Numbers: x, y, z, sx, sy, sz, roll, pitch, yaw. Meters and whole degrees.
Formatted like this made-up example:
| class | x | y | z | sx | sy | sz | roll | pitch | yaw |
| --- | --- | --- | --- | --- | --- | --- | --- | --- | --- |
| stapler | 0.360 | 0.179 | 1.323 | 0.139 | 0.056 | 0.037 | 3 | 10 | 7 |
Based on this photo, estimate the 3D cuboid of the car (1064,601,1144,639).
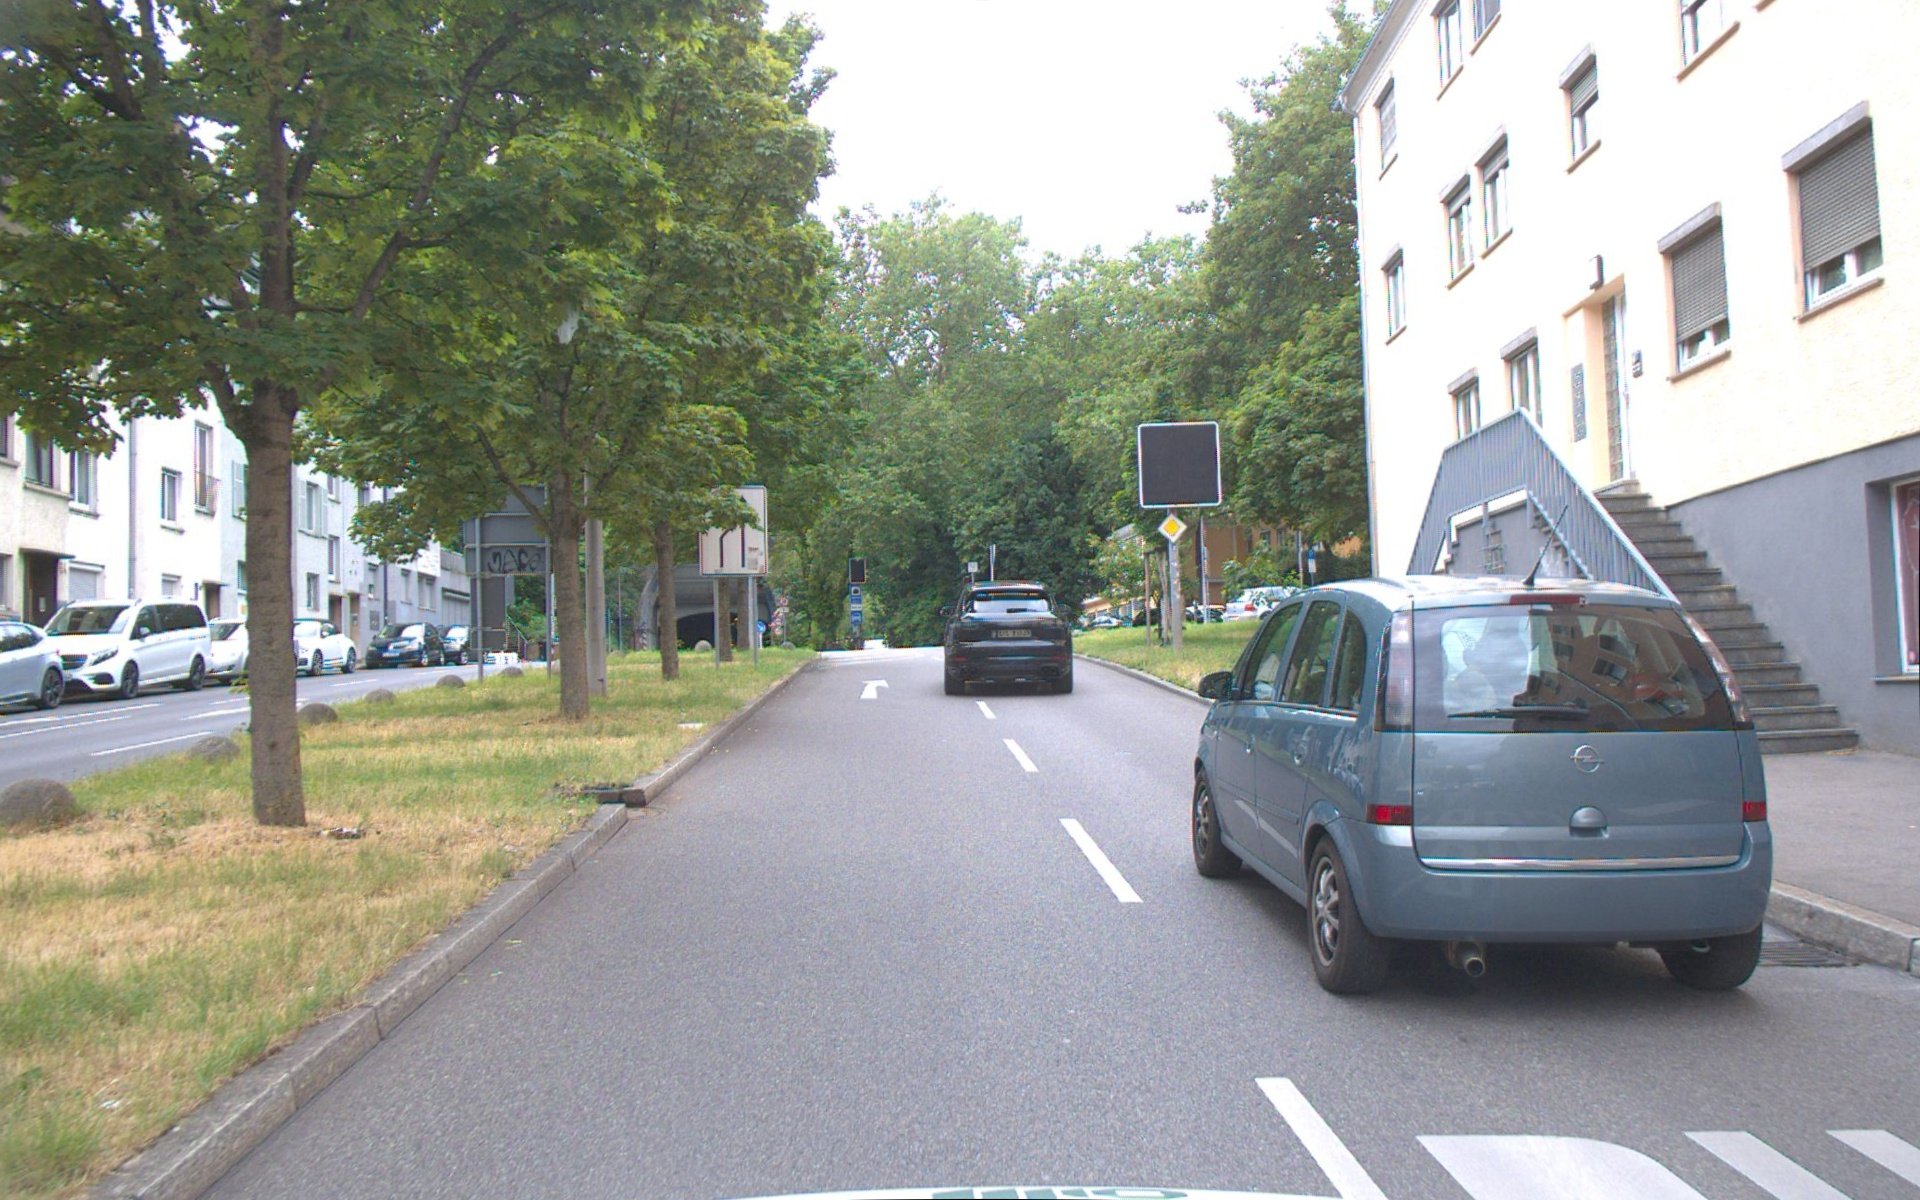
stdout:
| class | x | y | z | sx | sy | sz | roll | pitch | yaw |
| --- | --- | --- | --- | --- | --- | --- | --- | --- | --- |
| car | 7.202 | 1.035 | 83.256 | 1.966 | 1.606 | 4.871 | -2 | -3 | -22 |

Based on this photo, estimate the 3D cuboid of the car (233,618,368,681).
| class | x | y | z | sx | sy | sz | roll | pitch | yaw |
| --- | --- | --- | --- | --- | --- | --- | --- | --- | --- |
| car | -17.252 | 1.255 | 43.460 | 1.953 | 1.500 | 4.156 | -2 | 0 | -2 |

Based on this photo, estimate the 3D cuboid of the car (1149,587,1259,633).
| class | x | y | z | sx | sy | sz | roll | pitch | yaw |
| --- | --- | --- | --- | --- | --- | --- | --- | --- | --- |
| car | 8.701 | 0.336 | 58.826 | 1.964 | 1.442 | 3.976 | -3 | 0 | 42 |

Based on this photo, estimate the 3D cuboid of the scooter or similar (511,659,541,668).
| class | x | y | z | sx | sy | sz | roll | pitch | yaw |
| --- | --- | --- | --- | --- | --- | --- | --- | --- | --- |
| scooter or similar | -17.311 | 2.546 | 66.020 | 1.106 | 0.293 | 1.093 | -2 | -3 | -18 |

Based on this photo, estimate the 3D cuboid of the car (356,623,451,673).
| class | x | y | z | sx | sy | sz | roll | pitch | yaw |
| --- | --- | --- | --- | --- | --- | --- | --- | --- | --- |
| car | -17.756 | 1.498 | 52.943 | 1.955 | 1.448 | 4.206 | -2 | 0 | -6 |

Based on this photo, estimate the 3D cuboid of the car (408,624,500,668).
| class | x | y | z | sx | sy | sz | roll | pitch | yaw |
| --- | --- | --- | --- | --- | --- | --- | --- | --- | --- |
| car | -17.728 | 1.605 | 58.197 | 1.953 | 1.425 | 4.515 | -2 | -1 | -2 |

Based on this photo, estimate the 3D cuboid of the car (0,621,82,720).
| class | x | y | z | sx | sy | sz | roll | pitch | yaw |
| --- | --- | --- | --- | --- | --- | --- | --- | --- | --- |
| car | -16.402 | 1.174 | 27.112 | 1.954 | 1.579 | 4.155 | -2 | 0 | -3 |

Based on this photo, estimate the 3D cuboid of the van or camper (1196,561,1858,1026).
| class | x | y | z | sx | sy | sz | roll | pitch | yaw |
| --- | --- | --- | --- | --- | --- | --- | --- | --- | --- |
| van or camper | 2.232 | 0.673 | 7.555 | 1.700 | 1.605 | 3.645 | 0 | 0 | -1 |

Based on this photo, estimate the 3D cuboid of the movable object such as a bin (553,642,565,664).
| class | x | y | z | sx | sy | sz | roll | pitch | yaw |
| --- | --- | --- | --- | --- | --- | --- | --- | --- | --- |
| movable object such as a bin | -18.174 | 2.402 | 74.957 | 0.508 | 0.984 | 0.442 | 2 | -3 | -18 |

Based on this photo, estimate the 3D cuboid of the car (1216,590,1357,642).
| class | x | y | z | sx | sy | sz | roll | pitch | yaw |
| --- | --- | --- | --- | --- | --- | --- | --- | --- | --- |
| car | 10.542 | 0.501 | 53.554 | 4.043 | 1.453 | 1.858 | -3 | 0 | -10 |

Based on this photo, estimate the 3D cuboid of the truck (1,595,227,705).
| class | x | y | z | sx | sy | sz | roll | pitch | yaw |
| --- | --- | --- | --- | --- | --- | --- | --- | --- | --- |
| truck | -16.671 | 0.939 | 32.960 | 1.954 | 1.953 | 5.343 | -2 | 0 | -3 |

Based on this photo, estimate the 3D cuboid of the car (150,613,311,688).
| class | x | y | z | sx | sy | sz | roll | pitch | yaw |
| --- | --- | --- | --- | --- | --- | --- | --- | --- | --- |
| car | -16.850 | 1.127 | 38.453 | 1.954 | 1.579 | 4.379 | -2 | 0 | -3 |

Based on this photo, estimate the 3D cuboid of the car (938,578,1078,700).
| class | x | y | z | sx | sy | sz | roll | pitch | yaw |
| --- | --- | --- | --- | --- | --- | --- | --- | --- | --- |
| car | 0.661 | 0.597 | 25.923 | 1.953 | 1.682 | 3.999 | -2 | -1 | -1 |
